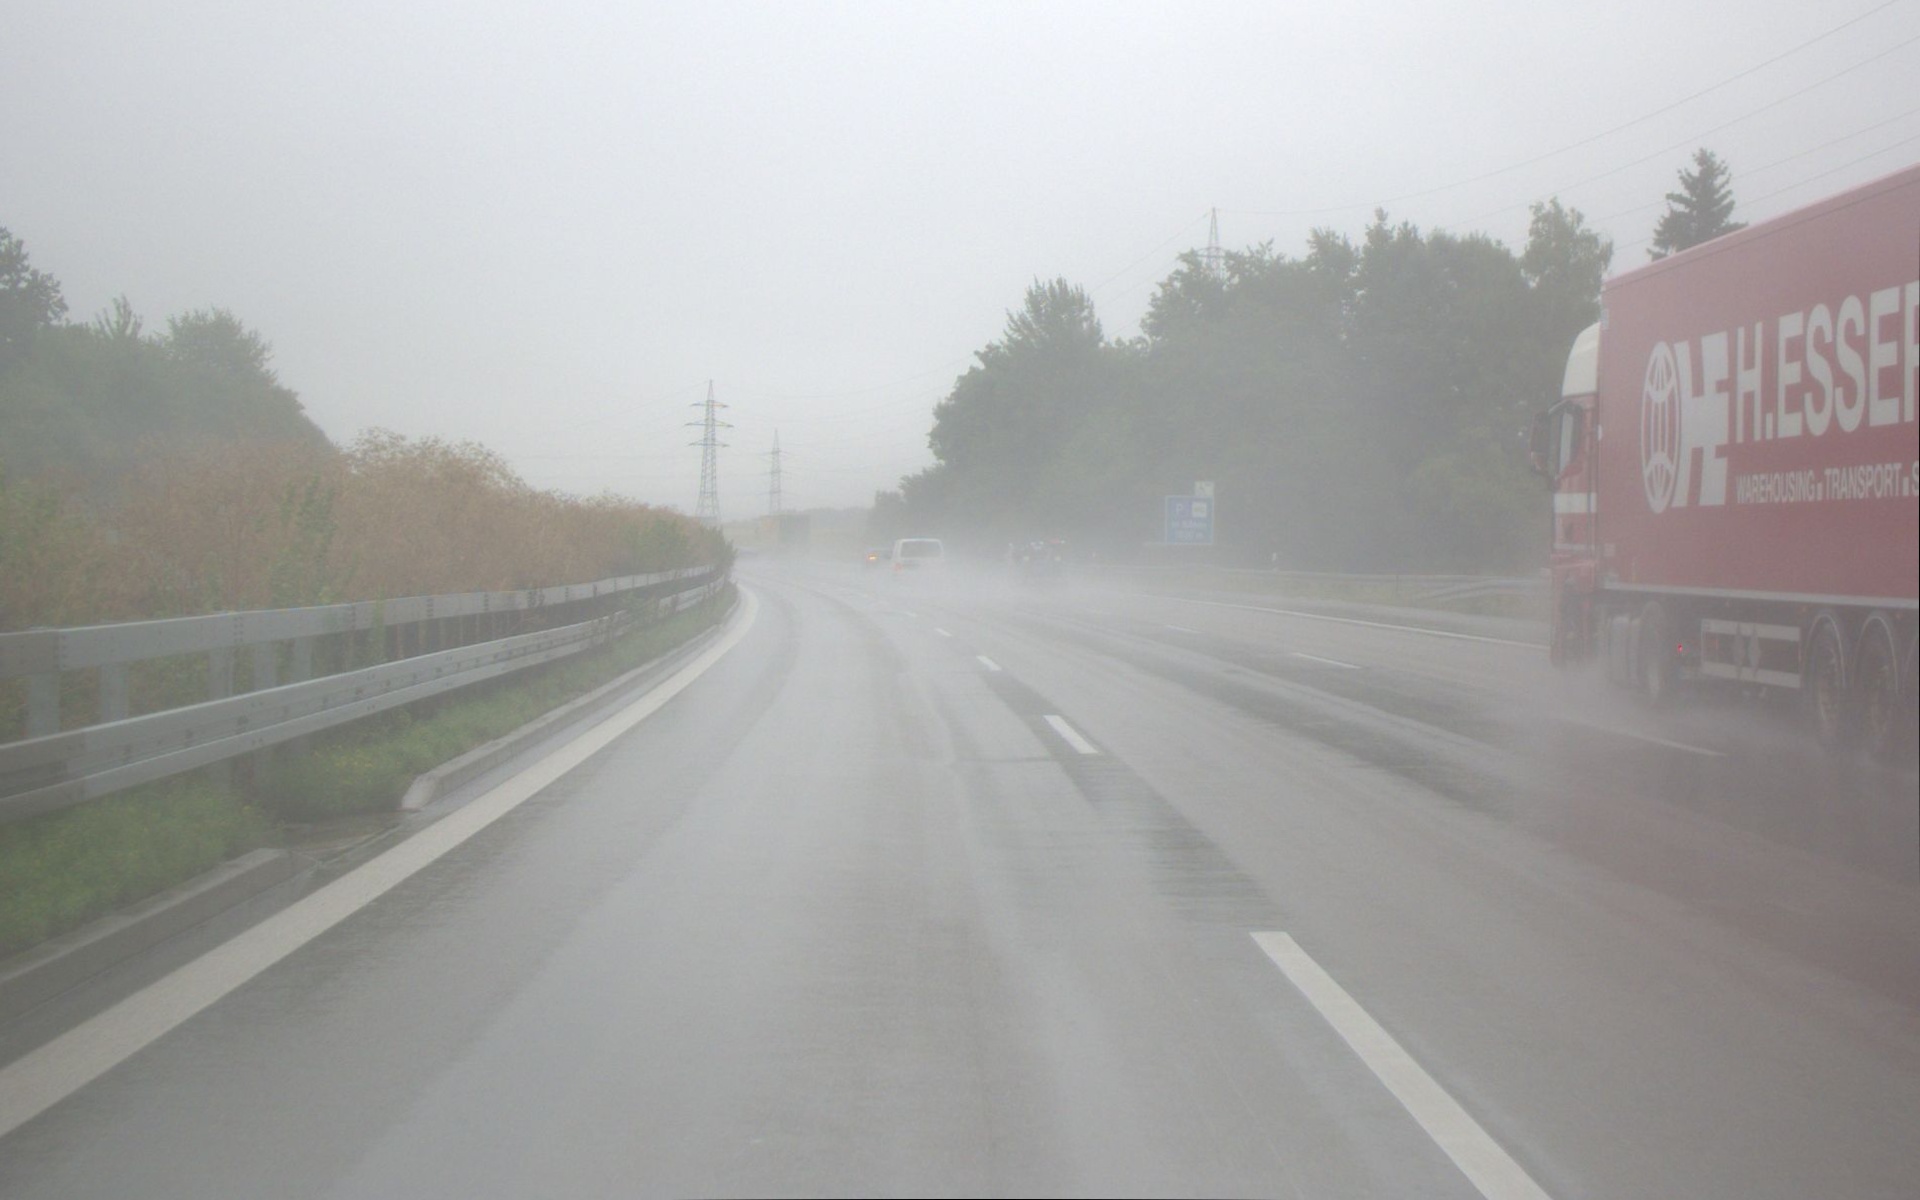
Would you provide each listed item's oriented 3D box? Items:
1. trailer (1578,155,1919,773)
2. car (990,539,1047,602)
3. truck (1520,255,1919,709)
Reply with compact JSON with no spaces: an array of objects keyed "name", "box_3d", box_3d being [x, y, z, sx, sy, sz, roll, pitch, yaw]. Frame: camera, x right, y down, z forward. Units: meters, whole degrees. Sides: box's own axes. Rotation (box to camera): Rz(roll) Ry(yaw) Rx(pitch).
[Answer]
[{"name":"trailer","box_3d":[7.340,-0.932,25.699,2.620,3.942,13.632,0,1,-2]},{"name":"car","box_3d":[2.025,-1.037,119.548,1.807,2.151,4.000,0,1,-1]},{"name":"truck","box_3d":[7.166,-1.076,32.731,2.620,3.942,5.433,0,1,-2]}]
